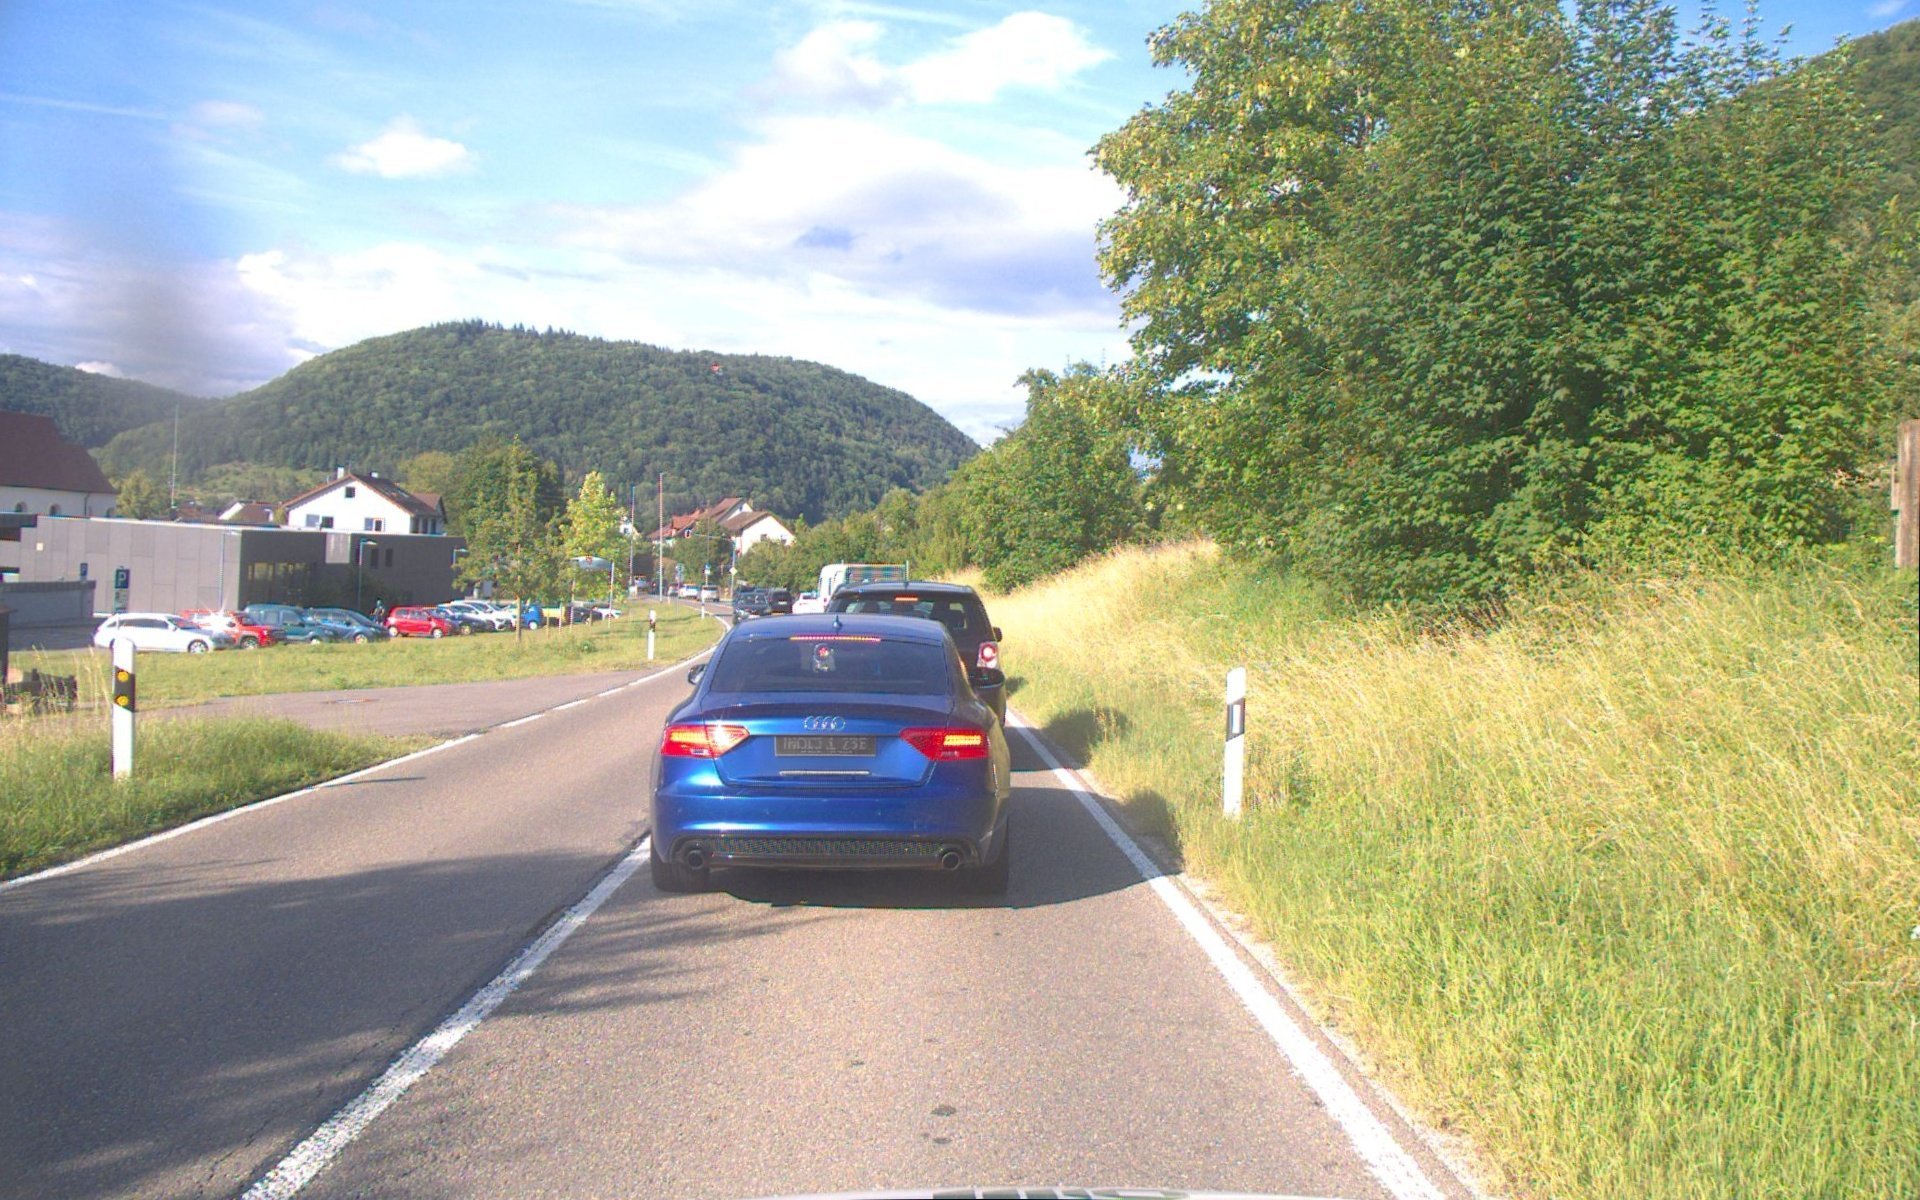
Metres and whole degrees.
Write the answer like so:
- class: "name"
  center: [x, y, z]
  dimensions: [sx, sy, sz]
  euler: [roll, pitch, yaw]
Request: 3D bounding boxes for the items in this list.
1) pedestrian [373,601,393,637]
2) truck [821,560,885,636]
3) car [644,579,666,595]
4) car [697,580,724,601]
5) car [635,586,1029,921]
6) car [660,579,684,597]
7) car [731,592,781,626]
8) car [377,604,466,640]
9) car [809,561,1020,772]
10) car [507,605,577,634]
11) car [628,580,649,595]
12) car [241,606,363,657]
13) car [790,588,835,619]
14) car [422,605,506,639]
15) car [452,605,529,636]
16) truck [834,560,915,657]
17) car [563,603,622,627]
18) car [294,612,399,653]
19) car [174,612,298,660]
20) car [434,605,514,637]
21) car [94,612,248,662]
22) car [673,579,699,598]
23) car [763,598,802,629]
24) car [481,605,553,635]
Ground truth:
- class: "pedestrian"
  center: [-32.979, 1.096, 94.554]
  dimensions: [0.808, 2.049, 0.973]
  euler: [1, -1, -1]
- class: "truck"
  center: [-4.001, -0.050, 61.025]
  dimensions: [2.186, 2.615, 6.701]
  euler: [1, 0, -4]
- class: "car"
  center: [-33.107, -1.384, 179.472]
  dimensions: [1.817, 1.742, 3.978]
  euler: [1, 0, -19]
- class: "car"
  center: [-22.147, -0.826, 146.858]
  dimensions: [1.816, 1.742, 3.981]
  euler: [1, 0, -17]
- class: "car"
  center: [-0.568, 0.691, 9.243]
  dimensions: [1.718, 1.455, 3.846]
  euler: [1, 0, 0]
- class: "car"
  center: [-29.584, -1.196, 170.031]
  dimensions: [1.817, 1.742, 3.978]
  euler: [1, 0, -19]
- class: "car"
  center: [-9.217, 0.411, 74.577]
  dimensions: [1.676, 1.455, 4.033]
  euler: [1, 0, -16]
- class: "car"
  center: [-27.500, 1.124, 84.519]
  dimensions: [3.908, 1.741, 1.999]
  euler: [1, 0, -4]
- class: "car"
  center: [-0.378, 0.554, 15.550]
  dimensions: [1.718, 1.710, 3.846]
  euler: [1, 0, 0]
- class: "car"
  center: [-26.405, 1.241, 104.576]
  dimensions: [3.908, 1.741, 1.999]
  euler: [1, 0, -4]
- class: "car"
  center: [-37.232, -1.422, 191.359]
  dimensions: [1.817, 1.742, 3.978]
  euler: [1, 0, -19]
- class: "car"
  center: [-27.663, 1.313, 69.672]
  dimensions: [4.319, 2.043, 1.999]
  euler: [1, 0, -4]
- class: "car"
  center: [-7.509, 0.184, 83.875]
  dimensions: [1.813, 1.508, 3.988]
  euler: [1, 0, -12]
- class: "car"
  center: [-26.706, 1.160, 89.110]
  dimensions: [3.908, 1.741, 1.999]
  euler: [1, 0, -4]
- class: "car"
  center: [-27.212, 1.185, 96.041]
  dimensions: [3.908, 1.741, 1.999]
  euler: [1, 0, -4]
- class: "truck"
  center: [-2.525, 0.245, 48.206]
  dimensions: [2.186, 2.615, 6.098]
  euler: [1, 0, -4]
- class: "car"
  center: [-26.379, 1.066, 118.872]
  dimensions: [3.908, 1.606, 1.751]
  euler: [1, 0, -4]
- class: "car"
  center: [-27.343, 1.431, 73.786]
  dimensions: [3.908, 1.741, 1.999]
  euler: [1, 0, -4]
- class: "car"
  center: [-27.934, 1.372, 63.926]
  dimensions: [3.908, 1.741, 1.999]
  euler: [1, 0, -4]
- class: "car"
  center: [-27.247, 1.168, 92.756]
  dimensions: [3.908, 1.741, 1.999]
  euler: [1, 0, -4]
- class: "car"
  center: [-28.971, 1.340, 60.855]
  dimensions: [4.637, 1.741, 1.999]
  euler: [1, 0, -4]
- class: "car"
  center: [-26.216, -1.096, 158.182]
  dimensions: [1.817, 1.742, 3.978]
  euler: [1, 0, -19]
- class: "car"
  center: [-10.425, 0.796, 96.970]
  dimensions: [1.813, 1.742, 3.988]
  euler: [1, 0, -12]
- class: "car"
  center: [-27.269, 1.213, 101.827]
  dimensions: [3.908, 1.741, 1.999]
  euler: [1, 0, -4]
